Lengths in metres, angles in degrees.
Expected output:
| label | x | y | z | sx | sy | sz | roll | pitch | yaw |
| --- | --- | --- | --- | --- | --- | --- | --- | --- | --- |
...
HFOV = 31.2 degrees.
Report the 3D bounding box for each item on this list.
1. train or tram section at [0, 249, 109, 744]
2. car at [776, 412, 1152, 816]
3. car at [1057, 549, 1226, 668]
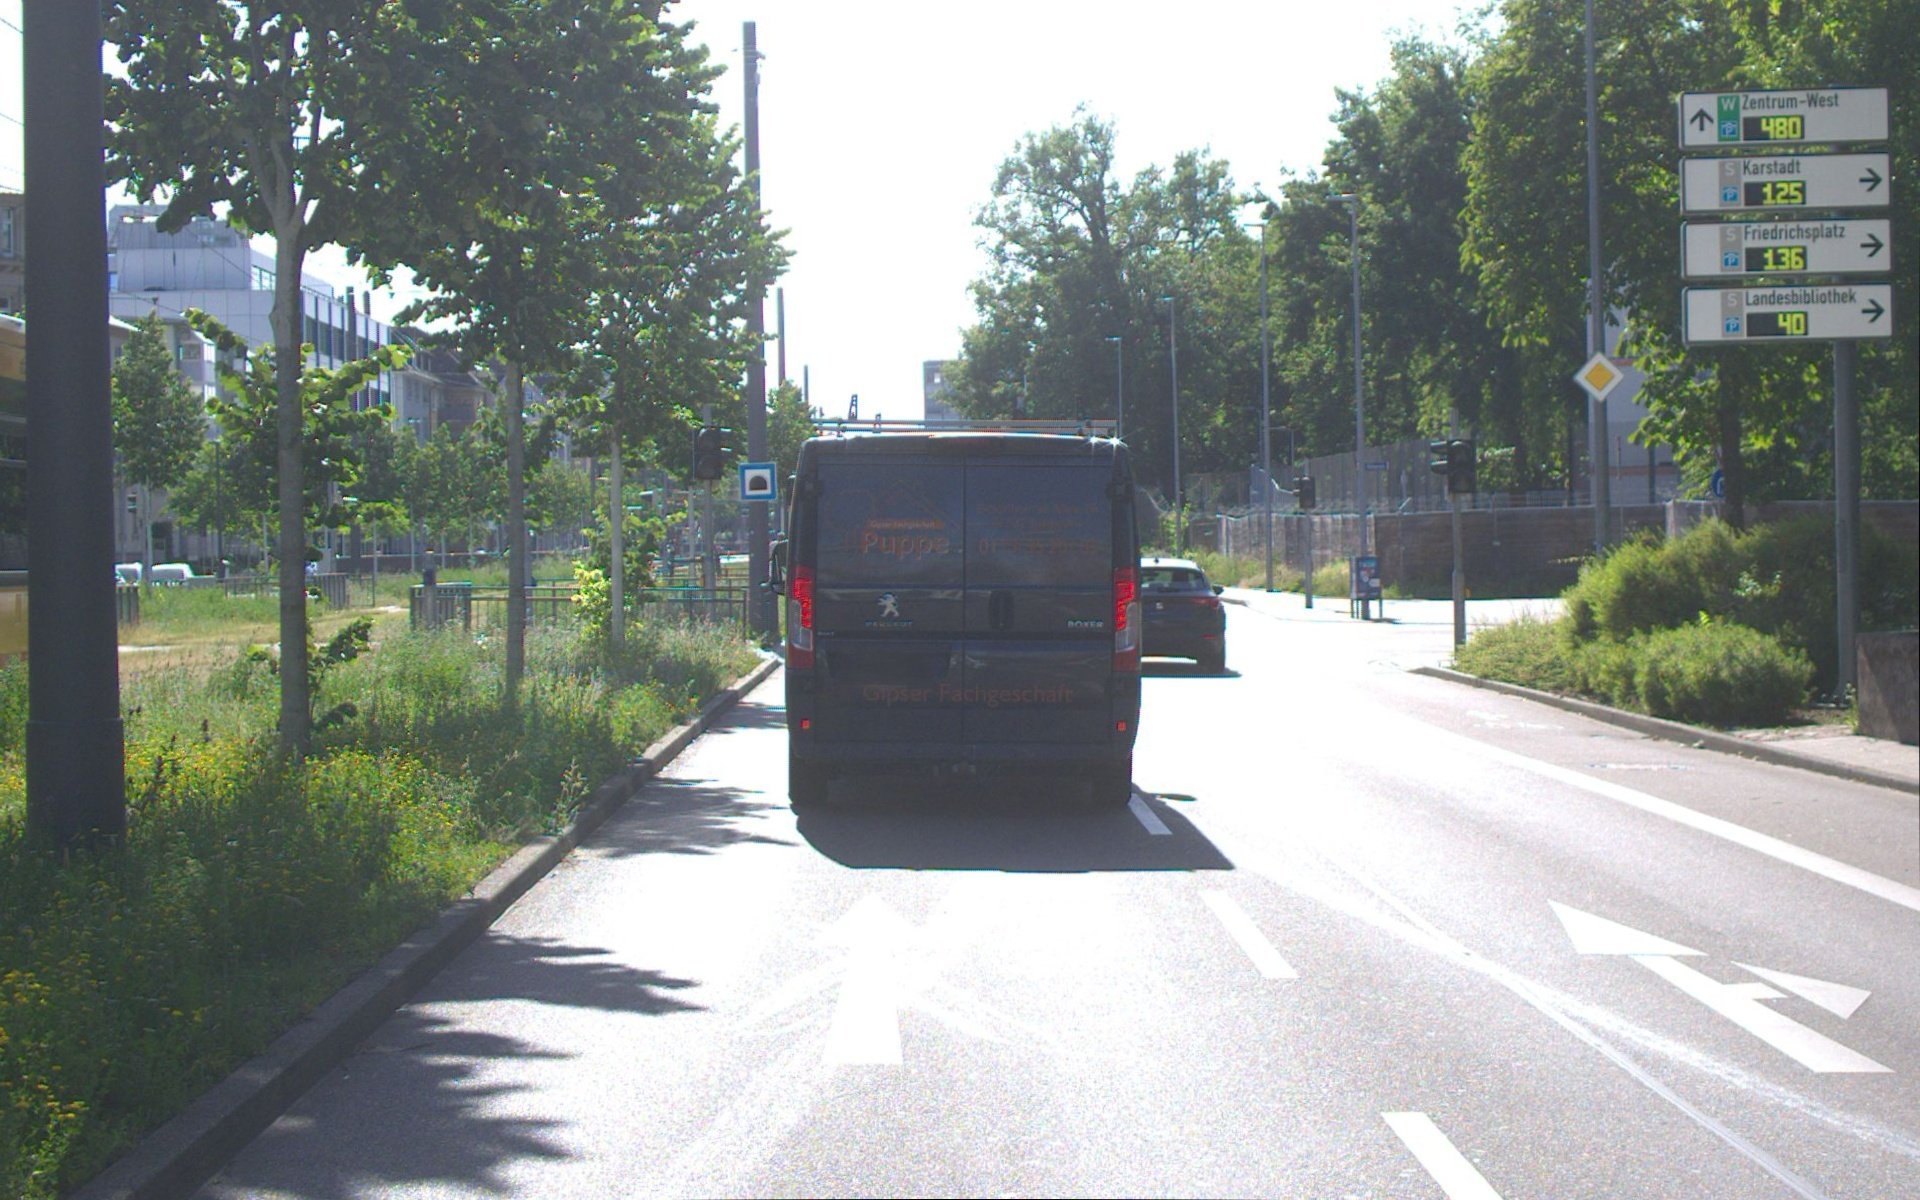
| label | x | y | z | sx | sy | sz | roll | pitch | yaw |
| --- | --- | --- | --- | --- | --- | --- | --- | --- | --- |
| train or tram section | -8.059 | -0.733 | 23.034 | 1.993 | 3.656 | 11.684 | 0 | 1 | -1 |
| car | -0.035 | 0.051 | 21.147 | 2.082 | 2.241 | 4.000 | 0 | 1 | -2 |
| car | 2.310 | 0.078 | 44.634 | 1.763 | 1.457 | 4.001 | 0 | 1 | -3 |
